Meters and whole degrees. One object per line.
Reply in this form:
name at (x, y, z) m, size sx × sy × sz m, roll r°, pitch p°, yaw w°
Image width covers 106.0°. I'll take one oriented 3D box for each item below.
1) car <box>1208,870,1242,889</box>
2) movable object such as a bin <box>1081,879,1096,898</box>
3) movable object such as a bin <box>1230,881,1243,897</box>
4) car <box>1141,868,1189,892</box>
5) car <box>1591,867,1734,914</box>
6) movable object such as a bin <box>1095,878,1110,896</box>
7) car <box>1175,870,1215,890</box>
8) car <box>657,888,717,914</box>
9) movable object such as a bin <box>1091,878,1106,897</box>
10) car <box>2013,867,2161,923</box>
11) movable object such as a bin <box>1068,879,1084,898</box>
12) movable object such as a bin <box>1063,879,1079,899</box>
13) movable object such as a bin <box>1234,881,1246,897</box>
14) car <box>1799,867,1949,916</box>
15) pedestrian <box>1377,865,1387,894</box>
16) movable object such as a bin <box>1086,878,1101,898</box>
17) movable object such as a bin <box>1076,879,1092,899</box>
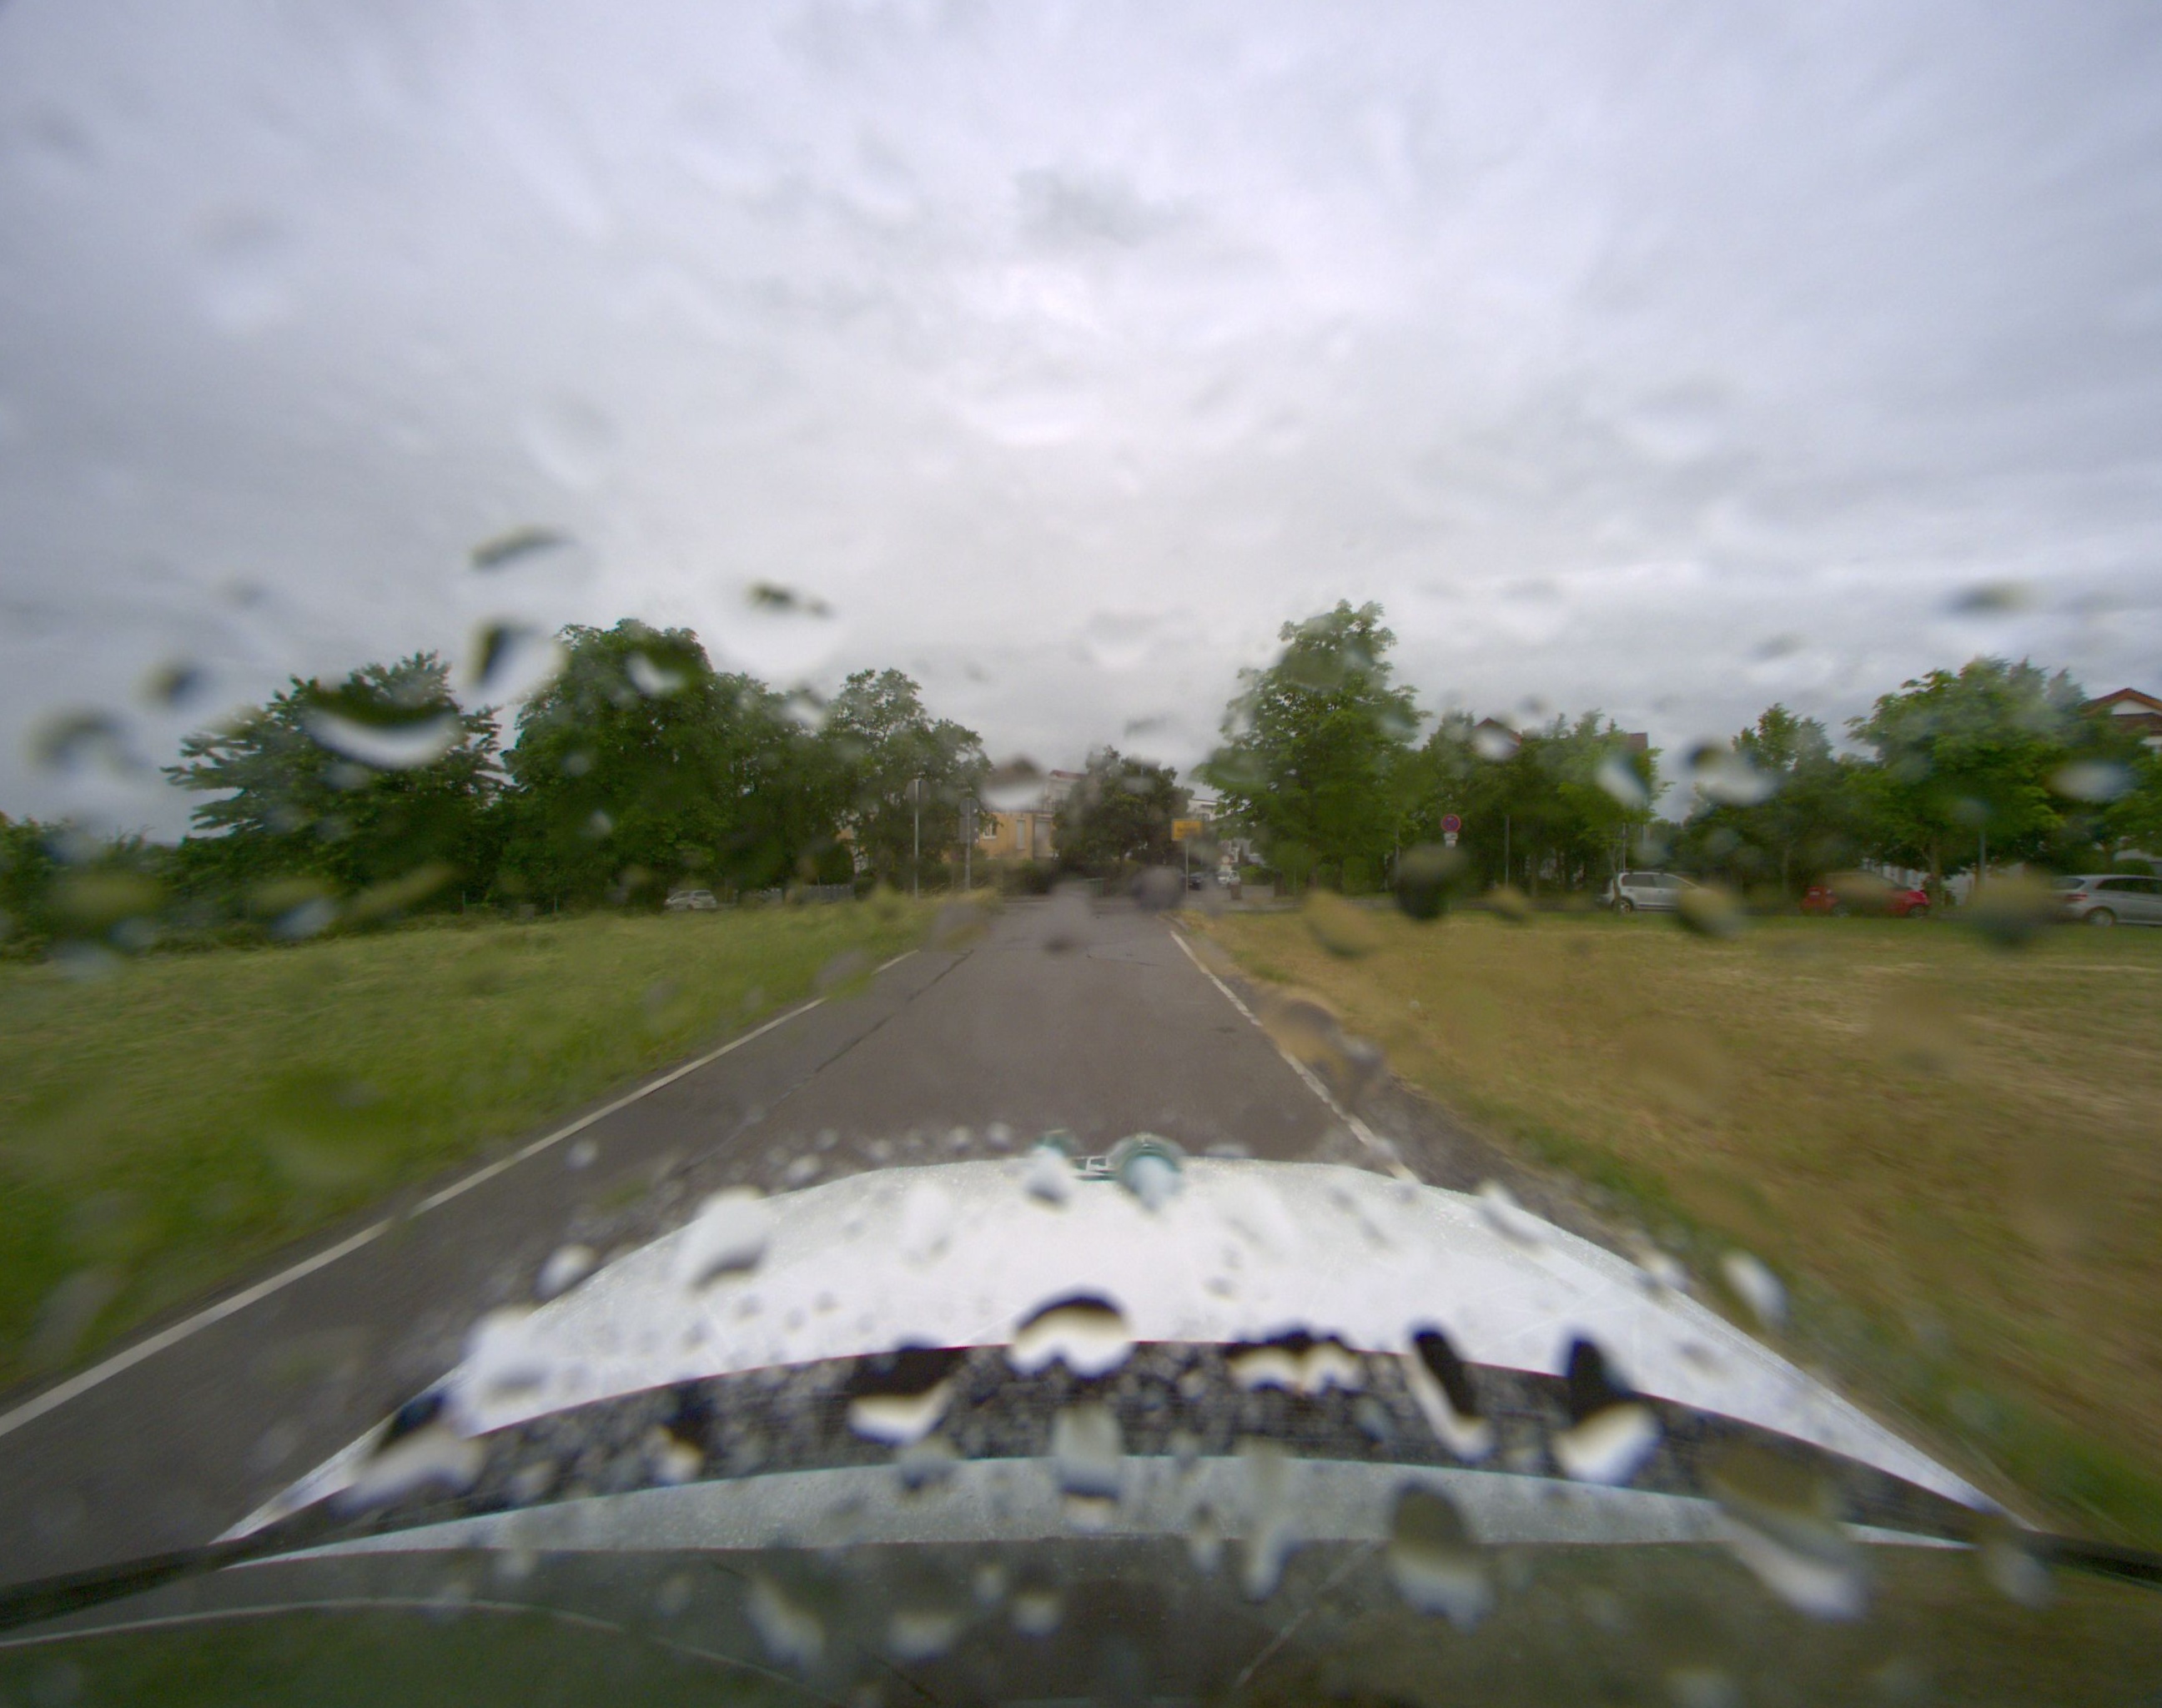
car at (11.657, 2.054, 65.680) m, size 1.496 × 1.477 × 3.294 m, roll 2°, pitch 0°, yaw 33°
movable object such as a bin at (0.438, 1.927, 45.745) m, size 0.688 × 1.075 × 0.546 m, roll -1°, pitch -1°, yaw 22°
movable object such as a bin at (9.269, 2.101, 48.564) m, size 0.565 × 0.931 × 0.533 m, roll -1°, pitch -2°, yaw 35°
car at (5.861, 1.798, 56.365) m, size 1.758 × 1.518 × 4.162 m, roll 2°, pitch 0°, yaw 30°
car at (19.216, 1.196, 27.094) m, size 3.513 × 1.479 × 1.688 m, roll -1°, pitch -2°, yaw 19°
movable object such as a bin at (1.266, 1.930, 47.534) m, size 0.688 × 1.055 × 0.608 m, roll -1°, pitch -1°, yaw 22°
car at (8.607, 1.972, 61.411) m, size 1.619 × 1.409 × 3.627 m, roll 2°, pitch 0°, yaw 31°
car at (-24.899, 2.956, 51.478) m, size 3.678 × 1.503 × 1.621 m, roll -4°, pitch -3°, yaw 30°
movable object such as a bin at (1.021, 1.925, 46.870) m, size 0.688 × 1.055 × 0.608 m, roll -1°, pitch -1°, yaw 22°
car at (30.654, 1.191, 23.934) m, size 3.949 × 1.552 × 1.859 m, roll 1°, pitch -1°, yaw 13°
movable object such as a bin at (-0.280, 1.928, 45.965) m, size 0.688 × 1.072 × 0.601 m, roll -1°, pitch -1°, yaw 22°
movable object such as a bin at (-0.556, 1.940, 45.388) m, size 0.659 × 1.073 × 0.546 m, roll -1°, pitch -1°, yaw 22°
movable object such as a bin at (9.590, 2.114, 49.033) m, size 0.565 × 0.931 × 0.533 m, roll -1°, pitch -2°, yaw 35°
car at (24.767, 1.156, 25.536) m, size 2.978 × 1.436 × 1.561 m, roll 0°, pitch -2°, yaw 18°
pedestrian at (20.487, 1.738, 55.475) m, size 0.552 × 2.014 × 0.528 m, roll -1°, pitch -1°, yaw 26°
movable object such as a bin at (0.704, 1.927, 46.319) m, size 0.688 × 1.067 × 0.582 m, roll -1°, pitch -1°, yaw 22°
movable object such as a bin at (0.159, 1.930, 45.142) m, size 0.688 × 1.075 × 0.605 m, roll -1°, pitch -1°, yaw 22°
